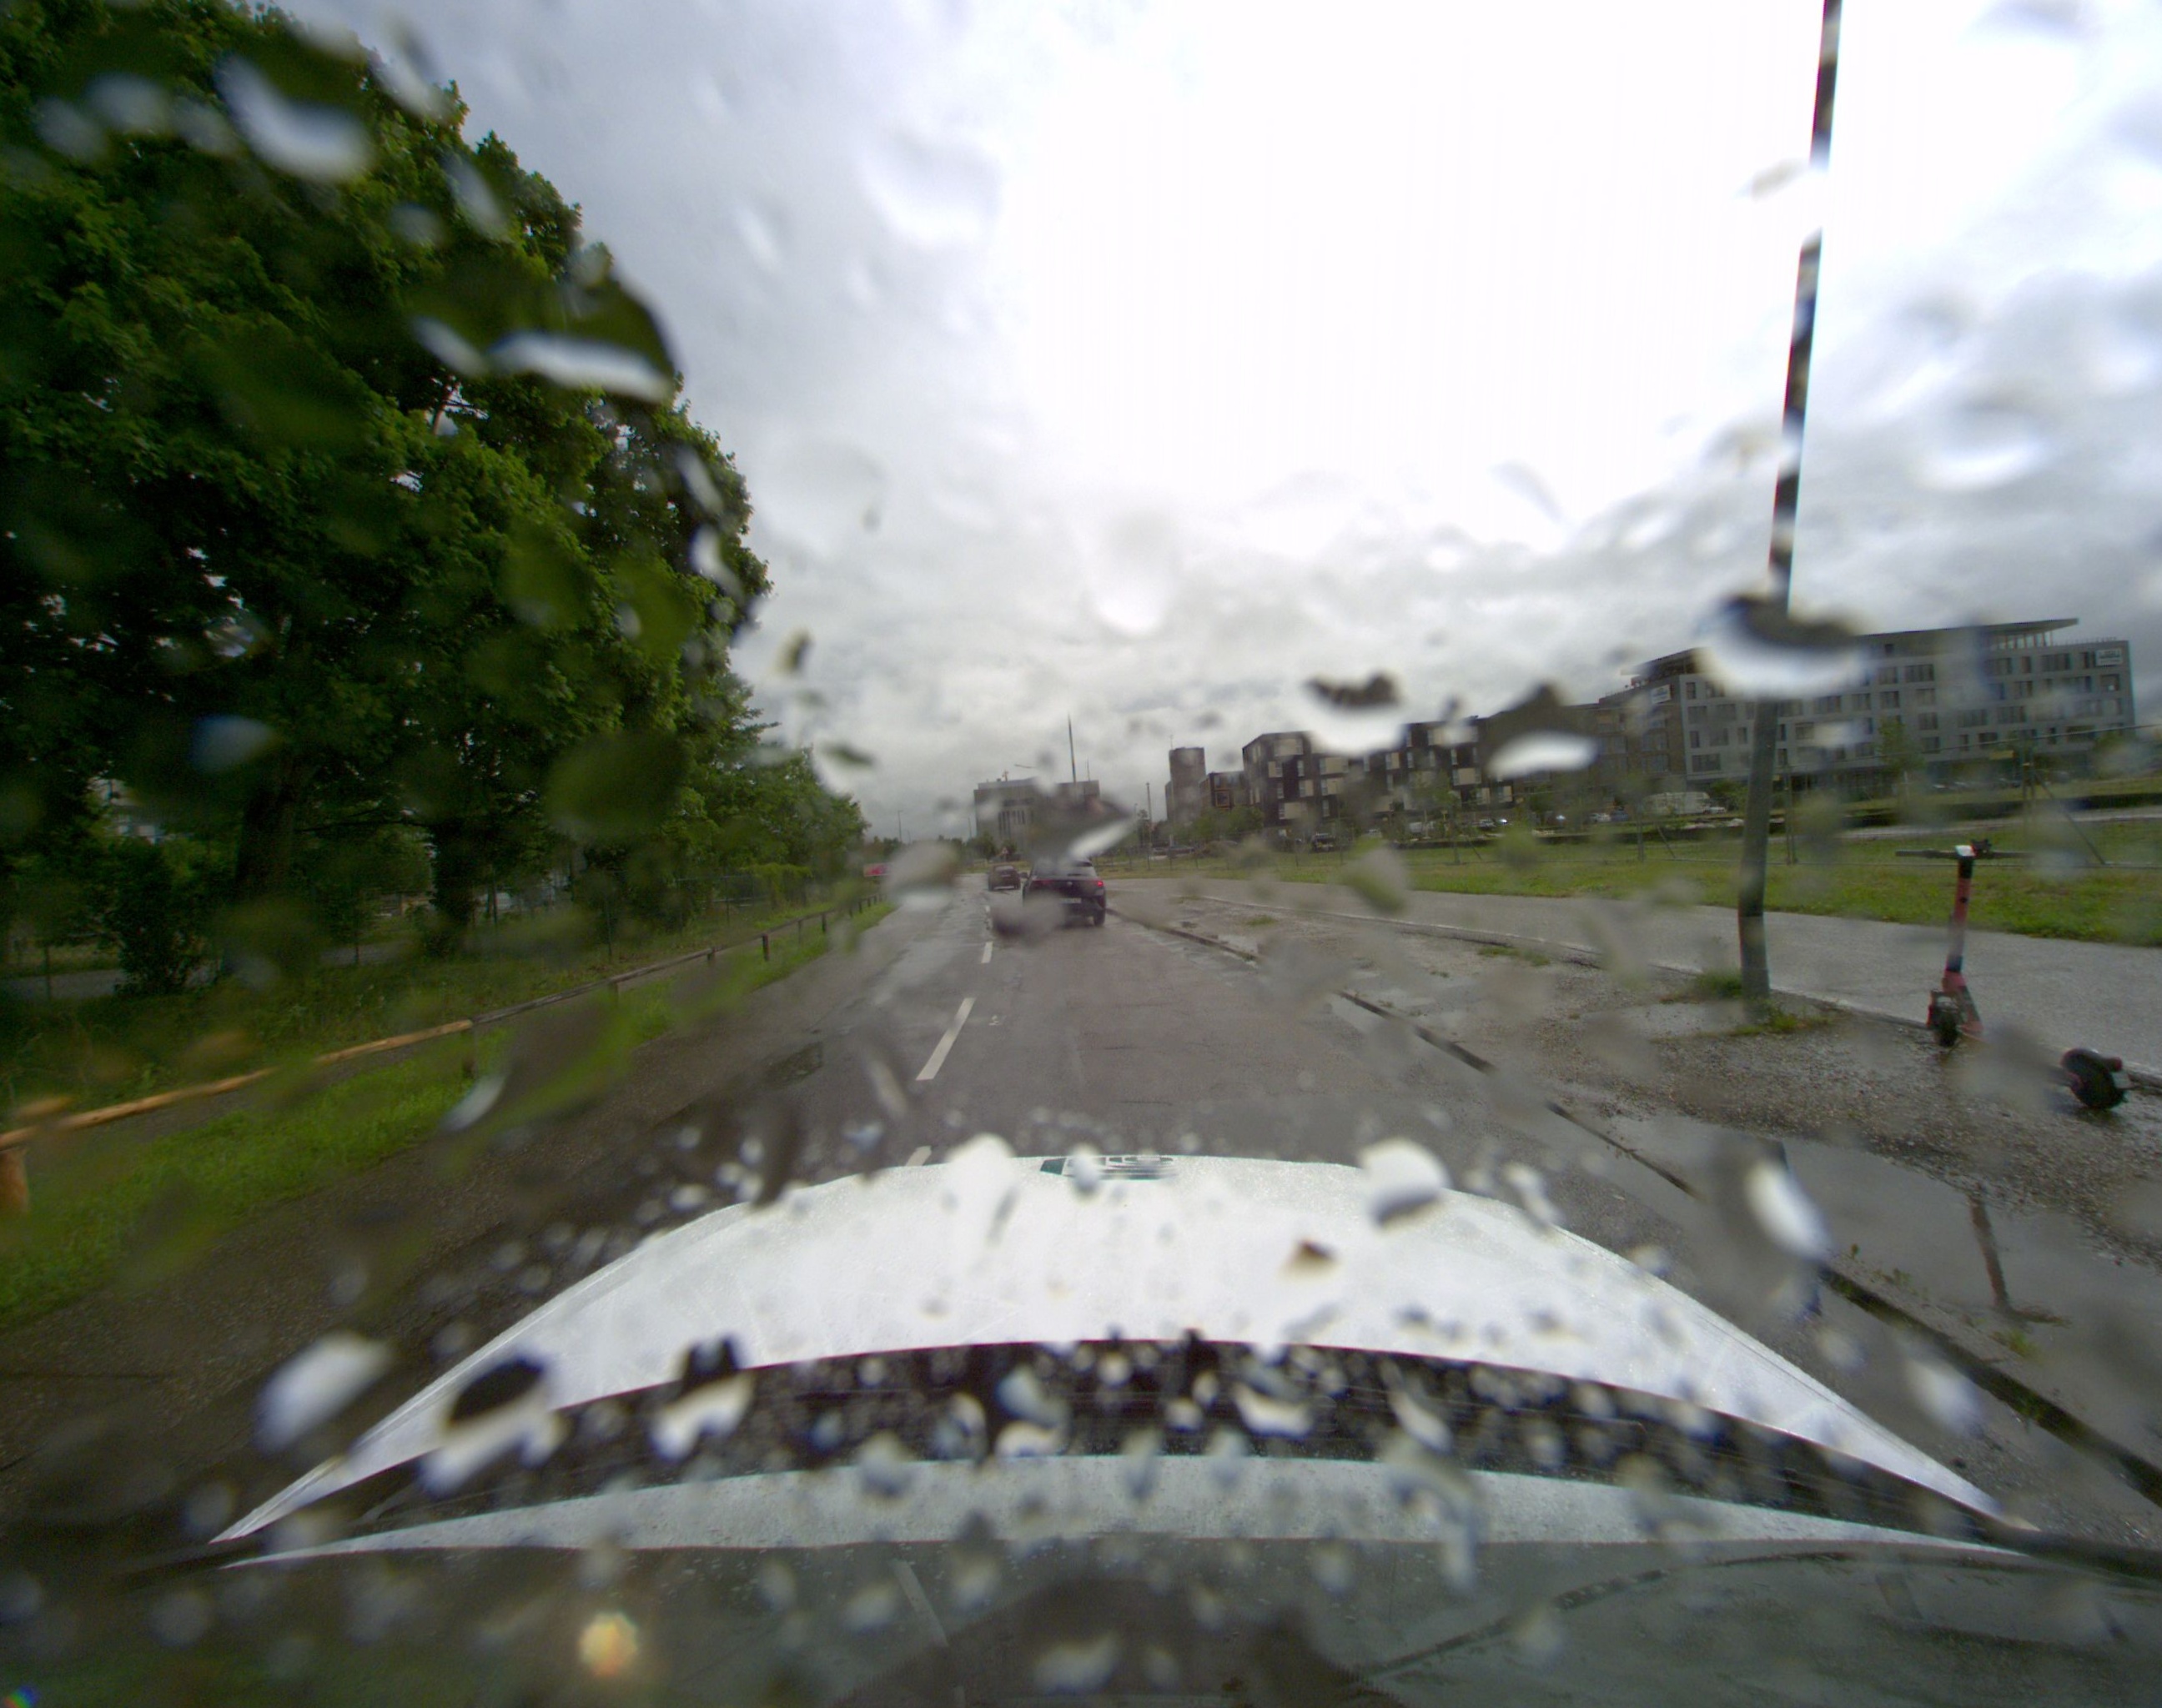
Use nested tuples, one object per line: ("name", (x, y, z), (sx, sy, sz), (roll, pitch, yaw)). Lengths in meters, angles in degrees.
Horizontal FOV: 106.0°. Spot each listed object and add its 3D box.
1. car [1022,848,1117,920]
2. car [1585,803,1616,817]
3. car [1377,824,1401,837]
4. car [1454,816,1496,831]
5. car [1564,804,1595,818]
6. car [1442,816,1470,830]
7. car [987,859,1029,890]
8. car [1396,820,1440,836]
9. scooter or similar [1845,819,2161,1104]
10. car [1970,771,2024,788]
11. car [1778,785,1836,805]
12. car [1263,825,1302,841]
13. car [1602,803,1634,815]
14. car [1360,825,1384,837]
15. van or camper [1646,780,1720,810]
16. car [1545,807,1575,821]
("car", (-0.394, 0.650, 19.838), (1.984, 1.520, 3.993), (-2, 0, -5))
("car", (67.581, -5.673, 106.026), (1.539, 1.615, 3.841), (-2, 0, -1))
("car", (40.090, -3.069, 105.994), (1.633, 1.396, 3.780), (-3, -1, 0))
("car", (46.358, -3.579, 95.939), (3.975, 1.414, 1.999), (-4, 0, -1))
("car", (64.649, -5.585, 105.658), (1.539, 1.615, 3.841), (-2, 0, -1))
("car", (48.319, -3.950, 105.061), (1.775, 1.615, 3.841), (-2, 0, -1))
("car", (-4.147, 1.121, 45.580), (1.842, 1.441, 3.986), (-7, 1, -10))
("car", (39.324, -3.035, 95.103), (4.309, 1.772, 2.000), (0, 0, 0))
("scooter or similar", (4.692, 0.455, 4.165), (0.487, 1.214, 1.345), (-5, 0, 14))
("car", (112.630, -9.181, 100.213), (1.787, 1.687, 4.372), (-2, 0, 2))
("car", (83.117, -6.755, 93.248), (4.776, 2.013, 2.002), (-2, 0, 3))
("car", (23.523, -2.481, 95.104), (3.979, 1.728, 1.997), (-2, 0, -4))
("car", (70.043, -5.856, 106.263), (1.542, 1.296, 3.902), (-2, 0, -1))
("car", (37.842, -2.981, 106.048), (1.757, 1.395, 3.806), (-2, 0, -1))
("van or camper", (70.727, -6.885, 95.778), (6.756, 3.201, 2.529), (-2, 0, 0))
("car", (62.183, -5.243, 105.816), (1.539, 1.615, 3.841), (-2, 0, -1))
